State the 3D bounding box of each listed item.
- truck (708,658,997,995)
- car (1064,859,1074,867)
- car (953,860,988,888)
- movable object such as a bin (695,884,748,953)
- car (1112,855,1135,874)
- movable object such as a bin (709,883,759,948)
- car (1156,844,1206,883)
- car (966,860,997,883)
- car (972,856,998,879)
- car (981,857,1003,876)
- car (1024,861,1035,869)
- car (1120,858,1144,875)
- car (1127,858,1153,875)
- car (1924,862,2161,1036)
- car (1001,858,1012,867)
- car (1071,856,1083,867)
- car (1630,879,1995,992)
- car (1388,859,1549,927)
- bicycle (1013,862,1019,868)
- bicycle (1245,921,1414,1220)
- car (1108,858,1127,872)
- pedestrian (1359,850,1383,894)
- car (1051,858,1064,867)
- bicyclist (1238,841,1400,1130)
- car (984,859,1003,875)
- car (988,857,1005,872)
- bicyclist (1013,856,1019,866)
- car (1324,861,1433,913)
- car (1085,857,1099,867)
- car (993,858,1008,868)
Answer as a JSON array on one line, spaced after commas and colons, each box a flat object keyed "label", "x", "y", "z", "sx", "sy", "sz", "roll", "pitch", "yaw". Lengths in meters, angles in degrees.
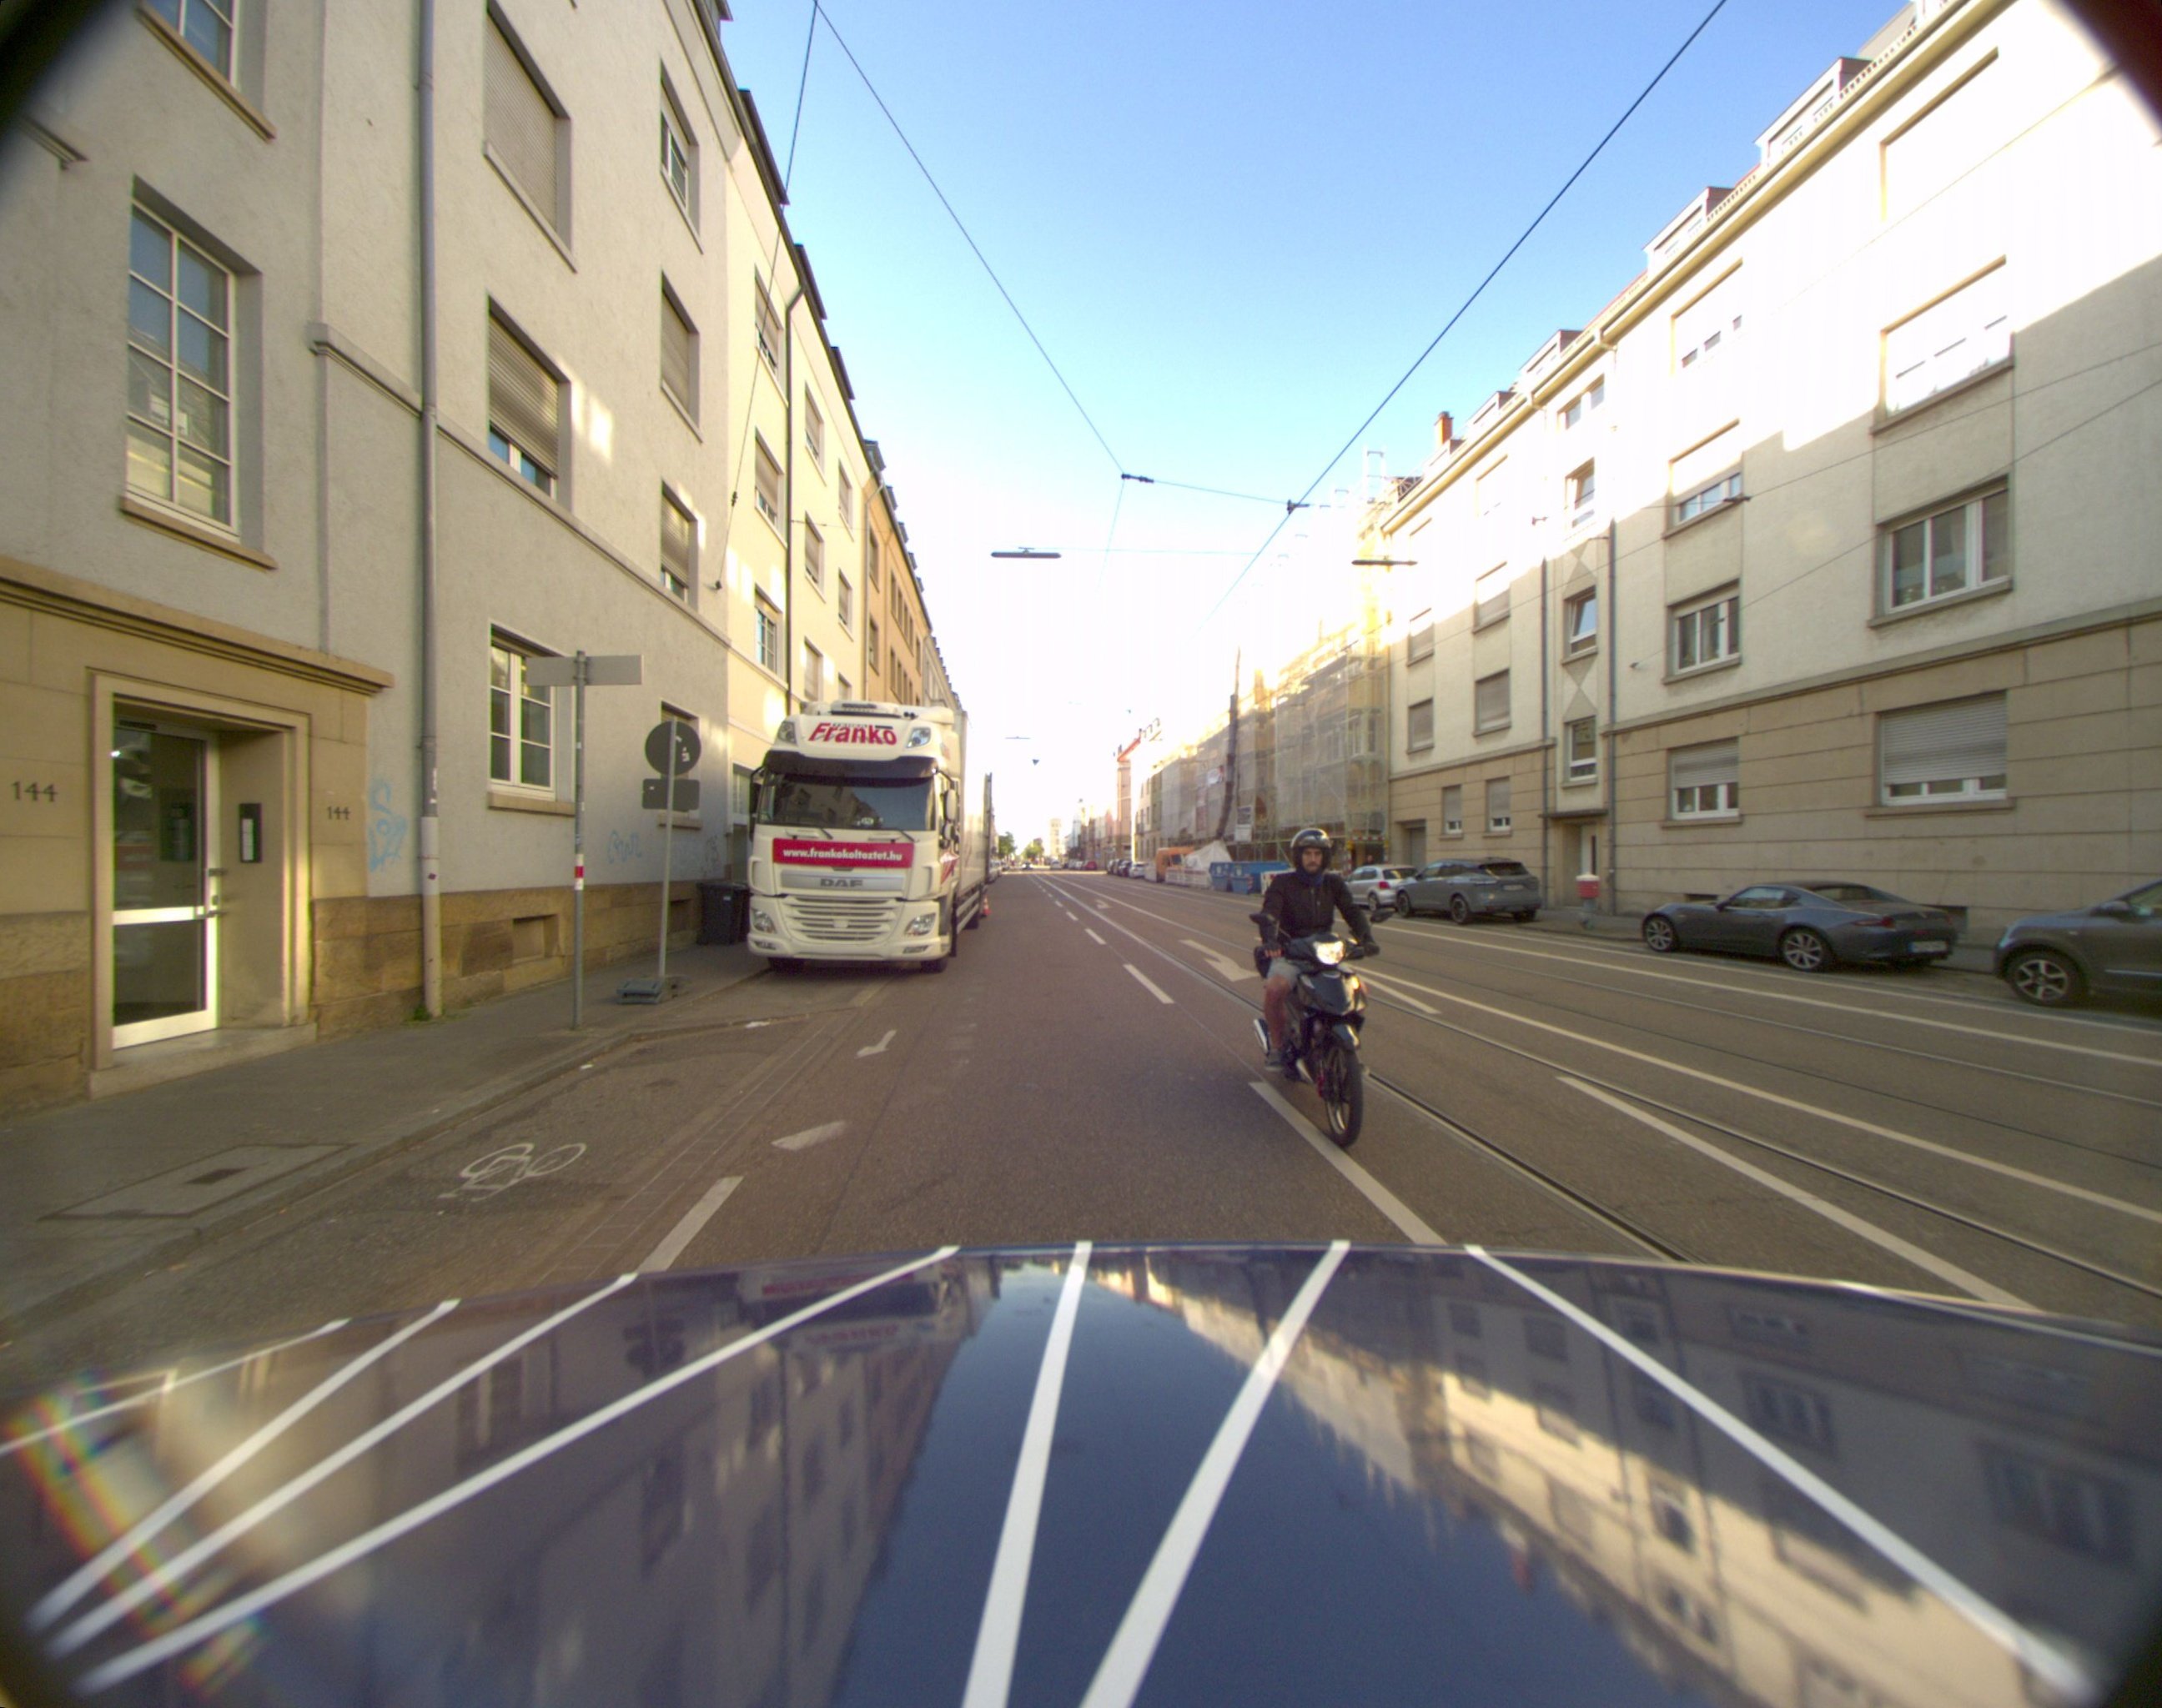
[{"label": "truck", "x": -3.399, "y": -0.290, "z": 15.084, "sx": 2.868, "sy": 4.049, "sz": 11.774, "roll": 0, "pitch": 0, "yaw": -4}, {"label": "car", "x": -2.683, "y": 1.937, "z": 165.672, "sx": 1.799, "sy": 1.494, "sz": 3.767, "roll": -2, "pitch": 0, "yaw": -6}, {"label": "car", "x": -5.977, "y": 1.056, "z": 41.462, "sx": 1.613, "sy": 1.454, "sz": 3.478, "roll": 1, "pitch": 0, "yaw": -4}, {"label": "movable object such as a bin", "x": -6.029, "y": 1.071, "z": 12.780, "sx": 0.660, "sy": 1.098, "sz": 0.541, "roll": 0, "pitch": 0, "yaw": -7}, {"label": "car", "x": 4.547, "y": 1.114, "z": 81.407, "sx": 1.799, "sy": 1.835, "sz": 3.767, "roll": -2, "pitch": 0, "yaw": -6}, {"label": "movable object such as a bin", "x": -6.090, "y": 1.069, "z": 13.369, "sx": 0.660, "sy": 1.098, "sz": 0.541, "roll": 0, "pitch": 0, "yaw": -7}, {"label": "car", "x": 6.702, "y": 0.641, "z": 51.673, "sx": 2.126, "sy": 2.454, "sz": 5.998, "roll": 1, "pitch": 0, "yaw": -4}, {"label": "car", "x": -6.644, "y": 1.173, "z": 51.199, "sx": 1.704, "sy": 1.443, "sz": 4.205, "roll": 1, "pitch": 0, "yaw": -3}, {"label": "car", "x": -7.216, "y": 0.983, "z": 57.468, "sx": 1.714, "sy": 1.683, "sz": 4.588, "roll": 1, "pitch": 0, "yaw": -5}, {"label": "car", "x": -8.097, "y": 1.110, "z": 69.323, "sx": 1.703, "sy": 1.688, "sz": 4.187, "roll": 1, "pitch": 0, "yaw": -2}, {"label": "car", "x": -9.048, "y": 1.913, "z": 133.510, "sx": 1.860, "sy": 1.369, "sz": 3.999, "roll": 0, "pitch": 0, "yaw": -2}, {"label": "car", "x": 5.026, "y": 1.243, "z": 75.467, "sx": 1.703, "sy": 1.569, "sz": 4.221, "roll": -2, "pitch": 0, "yaw": -6}, {"label": "car", "x": 5.374, "y": 1.103, "z": 69.190, "sx": 1.752, "sy": 1.502, "sz": 3.998, "roll": 1, "pitch": 0, "yaw": -4}, {"label": "car", "x": 11.047, "y": 0.918, "z": 7.127, "sx": 1.704, "sy": 1.560, "sz": 3.998, "roll": -2, "pitch": 1, "yaw": -4}, {"label": "car", "x": -13.711, "y": 1.545, "z": 140.478, "sx": 1.999, "sy": 1.630, "sz": 3.998, "roll": 1, "pitch": 0, "yaw": -4}, {"label": "car", "x": -0.832, "y": 1.449, "z": 147.255, "sx": 1.999, "sy": 2.002, "sz": 3.998, "roll": 1, "pitch": 0, "yaw": -5}, {"label": "car", "x": 10.680, "y": 1.092, "z": 11.539, "sx": 1.704, "sy": 1.209, "sz": 3.783, "roll": -2, "pitch": 1, "yaw": -6}, {"label": "car", "x": 9.903, "y": 0.926, "z": 19.841, "sx": 1.704, "sy": 1.558, "sz": 4.404, "roll": 0, "pitch": 0, "yaw": -4}, {"label": "bicycle", "x": -9.147, "y": 1.524, "z": 106.369, "sx": 0.744, "sy": 0.850, "sz": 1.885, "roll": 0, "pitch": 0, "yaw": -2}, {"label": "bicycle", "x": 1.389, "y": 1.068, "z": 4.461, "sx": 0.739, "sy": 1.170, "sz": 1.976, "roll": 0, "pitch": 0, "yaw": 15}, {"label": "car", "x": 4.153, "y": 1.259, "z": 86.391, "sx": 1.798, "sy": 1.601, "sz": 3.769, "roll": 0, "pitch": 0, "yaw": -2}, {"label": "pedestrian", "x": 11.181, "y": 0.684, "z": 29.285, "sx": 0.582, "sy": 1.684, "sz": 0.716, "roll": -2, "pitch": 0, "yaw": -5}, {"label": "car", "x": -3.979, "y": 1.413, "z": 129.829, "sx": 1.826, "sy": 1.559, "sz": 4.198, "roll": -2, "pitch": 0, "yaw": -7}, {"label": "bicyclist", "x": 1.397, "y": 0.707, "z": 4.574, "sx": 0.843, "sy": 1.545, "sz": 0.851, "roll": 0, "pitch": 0, "yaw": 14}, {"label": "car", "x": -8.576, "y": 1.266, "z": 74.968, "sx": 1.703, "sy": 1.496, "sz": 3.861, "roll": 0, "pitch": 0, "yaw": -4}, {"label": "car", "x": -8.862, "y": 1.111, "z": 80.079, "sx": 1.704, "sy": 1.581, "sz": 3.959, "roll": 0, "pitch": 0, "yaw": -5}, {"label": "bicyclist", "x": -9.140, "y": 0.980, "z": 106.483, "sx": 0.744, "sy": 1.480, "sz": 0.816, "roll": 0, "pitch": 0, "yaw": -3}, {"label": "car", "x": 9.605, "y": 1.000, "z": 24.878, "sx": 1.704, "sy": 1.407, "sz": 3.998, "roll": -3, "pitch": 1, "yaw": -4}, {"label": "car", "x": 1.672, "y": 1.225, "z": 116.622, "sx": 1.799, "sy": 1.494, "sz": 3.767, "roll": -2, "pitch": 0, "yaw": -6}, {"label": "car", "x": -11.670, "y": 1.369, "z": 110.564, "sx": 1.999, "sy": 1.411, "sz": 3.725, "roll": 1, "pitch": 0, "yaw": -4}]
